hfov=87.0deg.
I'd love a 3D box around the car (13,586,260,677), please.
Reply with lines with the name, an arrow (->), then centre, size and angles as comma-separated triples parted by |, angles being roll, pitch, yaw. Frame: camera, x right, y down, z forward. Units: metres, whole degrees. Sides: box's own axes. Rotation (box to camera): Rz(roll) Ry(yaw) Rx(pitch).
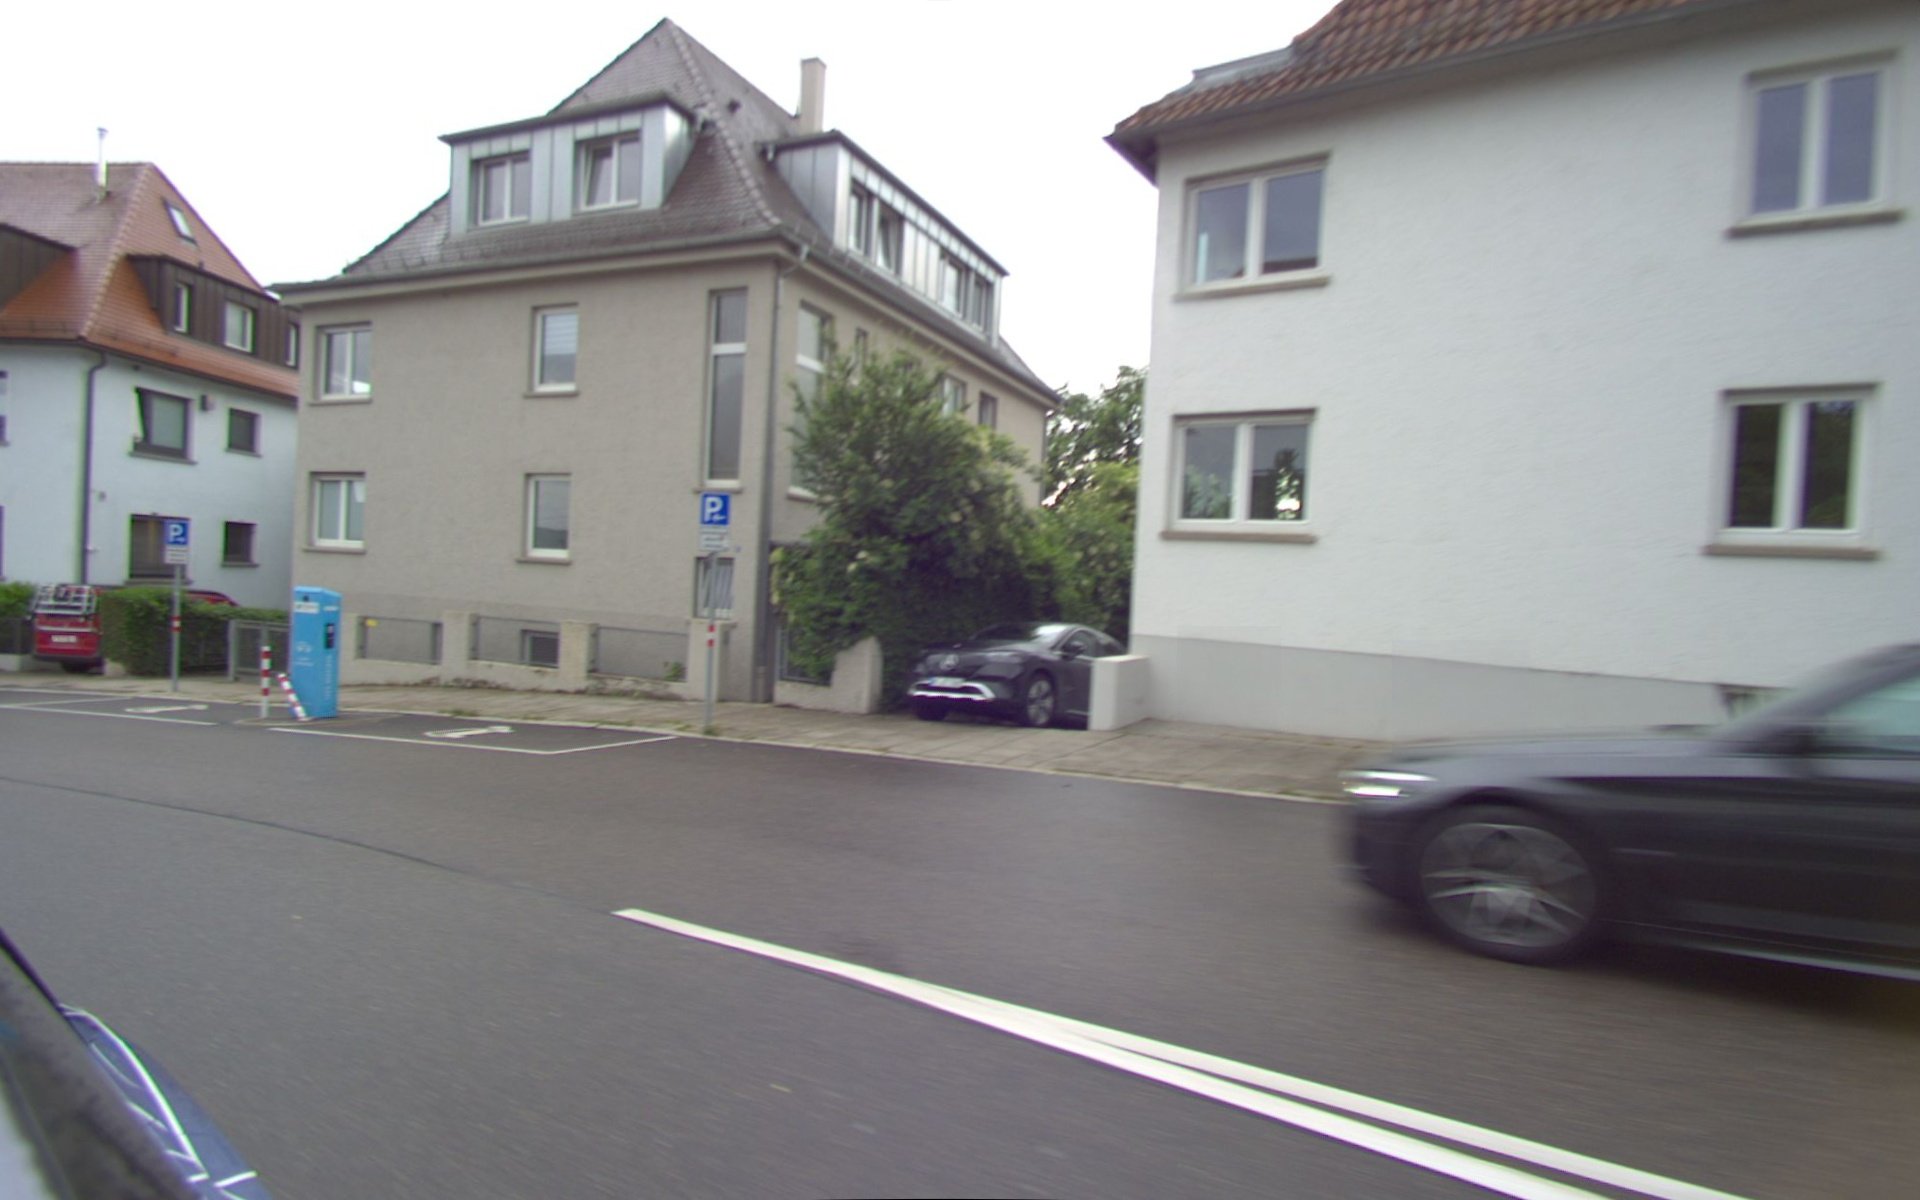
car -> -18.157, 0.752, 22.597 | 1.976, 1.837, 3.990 | -1, -3, 7

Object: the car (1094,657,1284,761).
car -> 4.216, 2.005, 18.200 | 1.855, 1.364, 3.888 | -1, -11, 37

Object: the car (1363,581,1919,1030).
car -> 4.184, 0.714, 3.801 | 4.634, 1.503, 1.851 | -1, -3, 41

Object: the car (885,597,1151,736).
car -> 0.993, 0.794, 14.552 | 1.995, 1.636, 4.205 | 0, 1, 34
